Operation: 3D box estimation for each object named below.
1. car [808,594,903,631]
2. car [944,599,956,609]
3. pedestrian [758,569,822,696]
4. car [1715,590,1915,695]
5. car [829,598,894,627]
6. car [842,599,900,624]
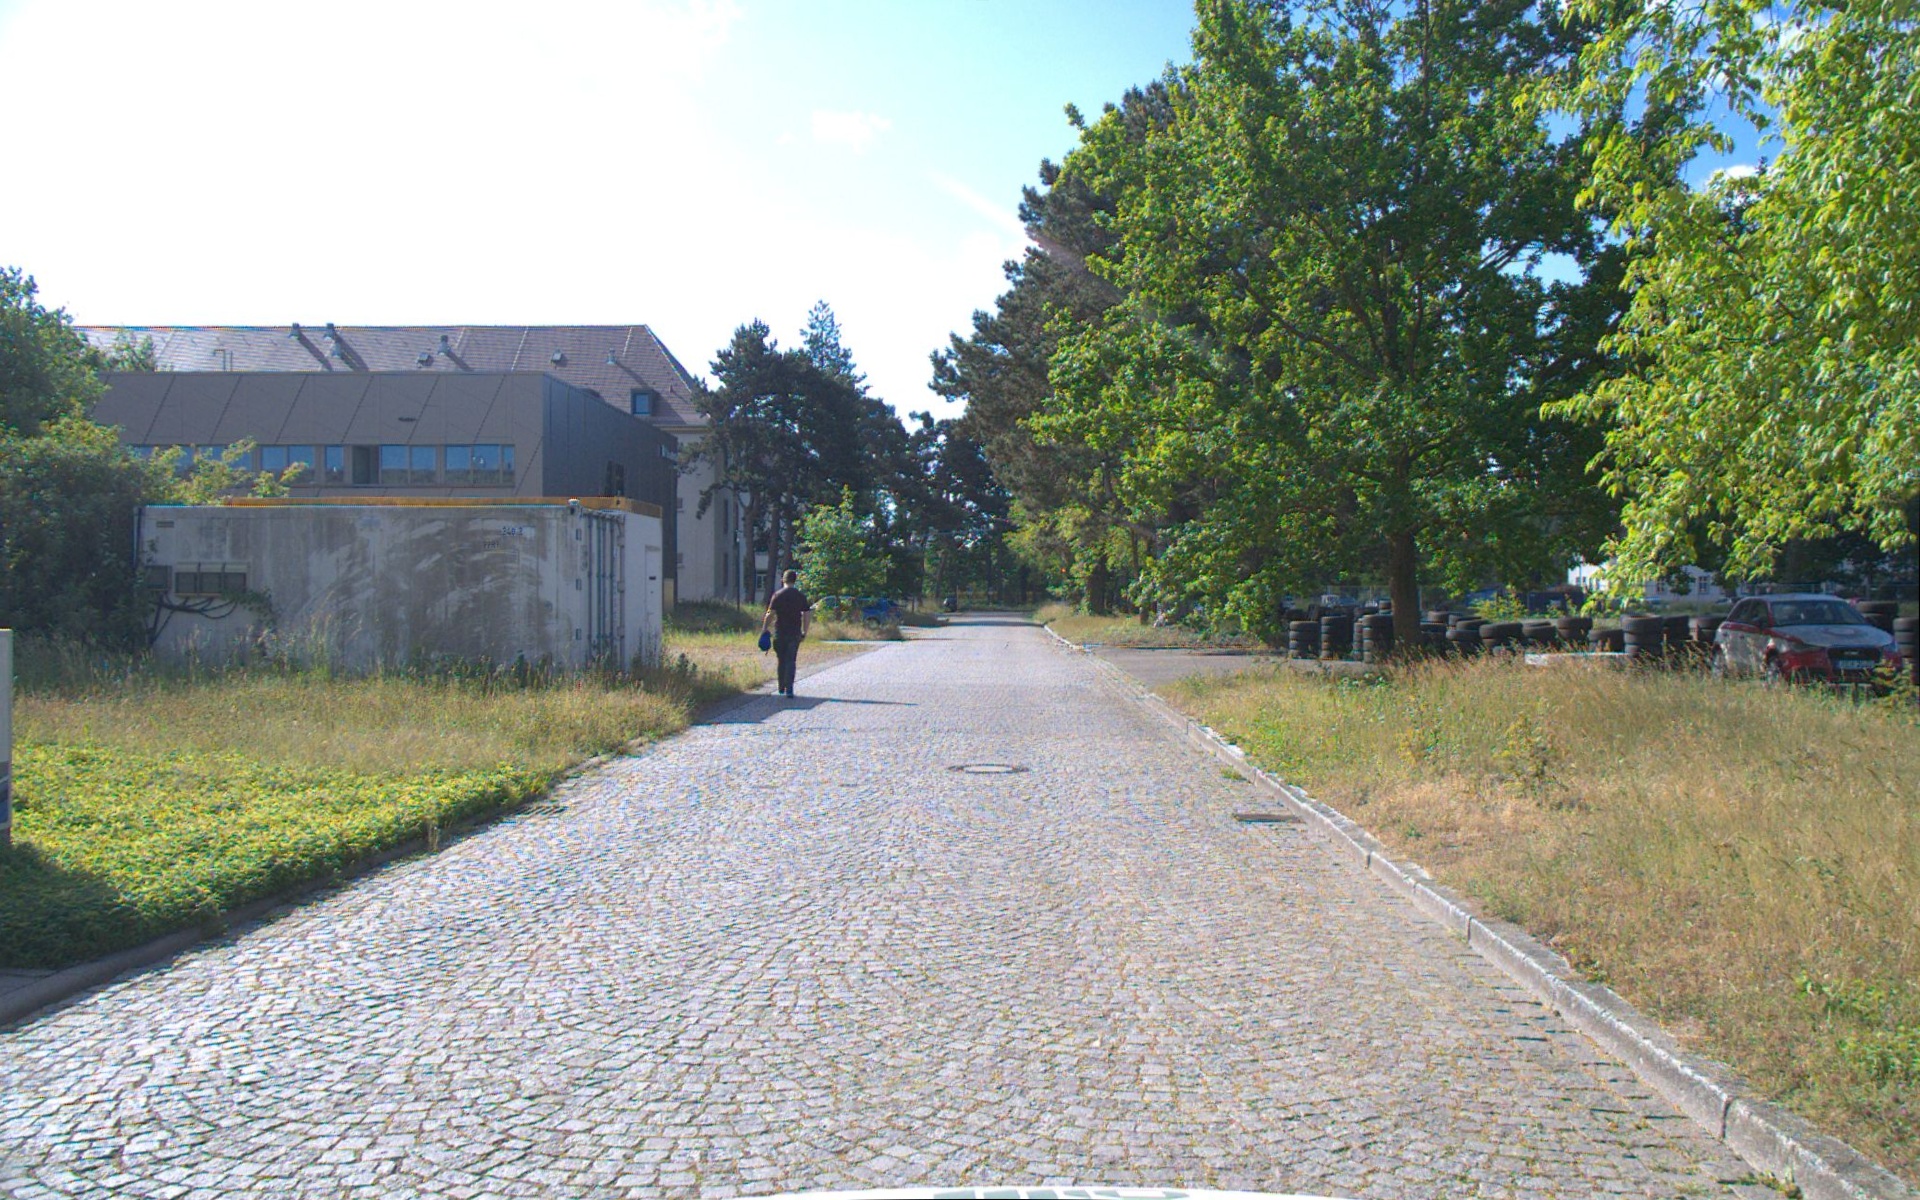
[{"bbox_3d":[-4.190,0.507,66.622,3.755,1.466,1.583,0,0,-1],"label":"car"},{"bbox_3d":[-1.146,0.412,189.280,1.342,1.118,2.862,0,0,-1],"label":"car"},{"bbox_3d":[-2.487,0.469,24.304,0.778,1.812,1.068,1,0,0],"label":"pedestrian"},{"bbox_3d":[12.604,0.588,24.606,1.508,1.431,3.580,0,0,7],"label":"car"},{"bbox_3d":[-4.416,0.562,73.912,2.847,1.281,1.286,0,0,-8],"label":"car"},{"bbox_3d":[-4.498,0.555,83.307,2.800,1.227,1.372,0,0,-8],"label":"car"}]
